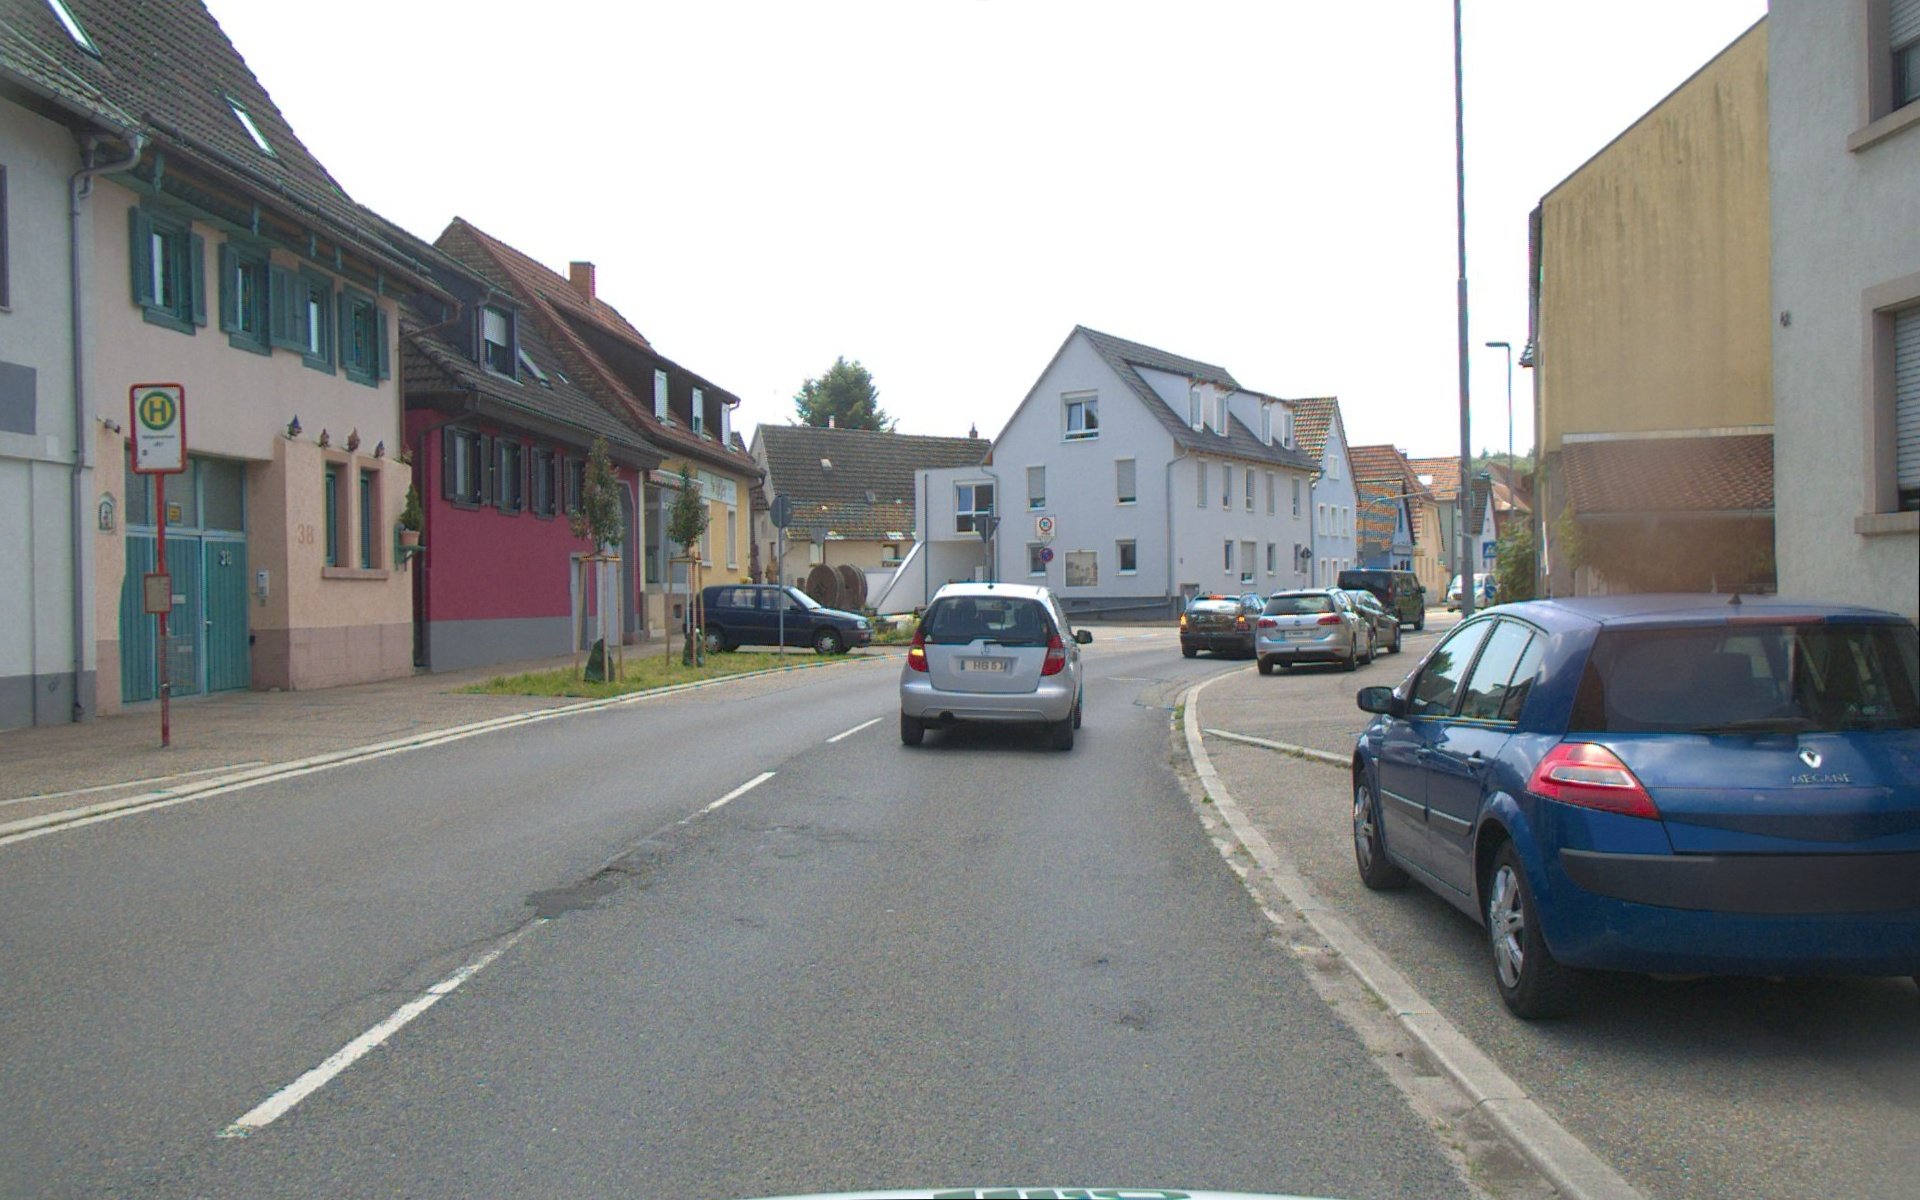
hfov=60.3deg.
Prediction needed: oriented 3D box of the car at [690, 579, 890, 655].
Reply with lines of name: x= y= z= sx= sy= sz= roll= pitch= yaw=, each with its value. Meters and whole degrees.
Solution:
car: x=-3.508 y=0.339 z=34.575 sx=3.883 sy=1.489 sz=1.722 roll=1 pitch=0 yaw=4

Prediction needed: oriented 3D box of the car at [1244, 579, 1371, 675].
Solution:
car: x=6.451 y=0.459 z=30.405 sx=1.845 sy=1.556 sz=4.338 roll=-3 pitch=-1 yaw=17

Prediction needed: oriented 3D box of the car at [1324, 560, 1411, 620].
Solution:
car: x=13.250 y=-0.292 z=53.634 sx=1.954 sy=1.848 sz=3.996 roll=0 pitch=-1 yaw=26

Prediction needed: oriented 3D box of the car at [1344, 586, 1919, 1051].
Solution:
car: x=2.827 y=0.694 z=7.046 sx=1.686 sy=1.410 sz=4.002 roll=-1 pitch=-1 yaw=4

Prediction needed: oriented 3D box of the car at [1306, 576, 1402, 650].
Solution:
car: x=8.833 y=0.299 z=36.894 sx=1.845 sy=1.557 sz=4.002 roll=0 pitch=-1 yaw=17

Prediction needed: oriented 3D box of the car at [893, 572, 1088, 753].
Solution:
car: x=0.429 y=0.562 z=17.564 sx=1.772 sy=1.672 sz=3.732 roll=1 pitch=1 yaw=5

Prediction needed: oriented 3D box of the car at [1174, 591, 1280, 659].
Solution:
car: x=6.103 y=0.559 z=37.434 sx=1.713 sy=1.441 sz=4.001 roll=0 pitch=-1 yaw=19
